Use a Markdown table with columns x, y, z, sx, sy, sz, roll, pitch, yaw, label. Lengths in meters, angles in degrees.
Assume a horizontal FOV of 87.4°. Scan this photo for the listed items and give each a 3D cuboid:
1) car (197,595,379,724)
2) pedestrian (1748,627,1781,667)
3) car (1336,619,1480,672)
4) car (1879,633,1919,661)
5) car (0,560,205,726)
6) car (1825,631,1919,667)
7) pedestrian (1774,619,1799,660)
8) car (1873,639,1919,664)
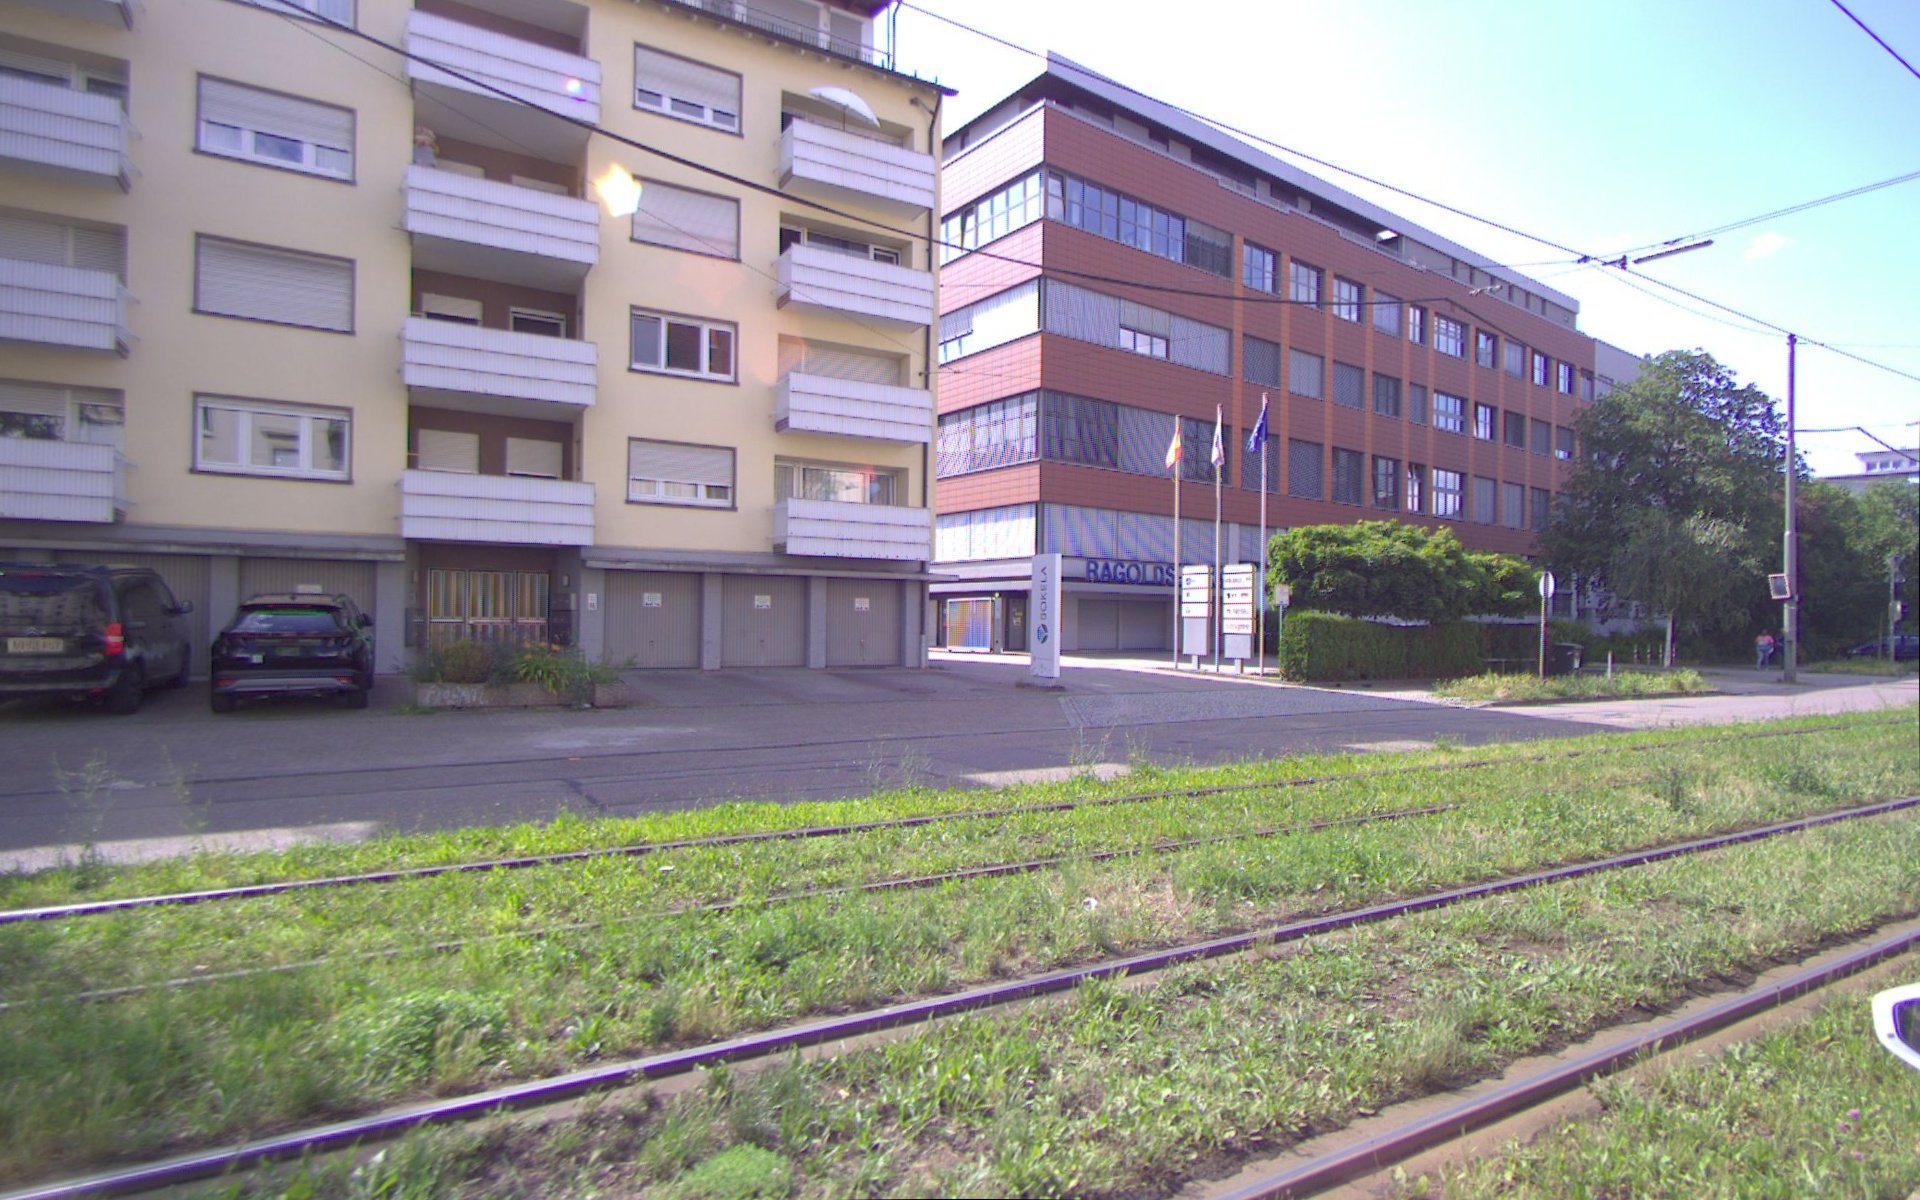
| x | y | z | sx | sy | sz | roll | pitch | yaw | label |
| --- | --- | --- | --- | --- | --- | --- | --- | --- | --- |
| -10.014 | 0.785 | 15.265 | 1.949 | 1.623 | 3.969 | 1 | 1 | -29 | car |
| 32.591 | 1.893 | 40.710 | 0.878 | 1.594 | 0.742 | 3 | -2 | -27 | pedestrian |
| 14.806 | 1.460 | 33.345 | 1.978 | 1.617 | 3.965 | 1 | -1 | -32 | car |
| 52.332 | 2.561 | 54.495 | 3.321 | 1.525 | 1.545 | 0 | -1 | 17 | car |
| -12.443 | 0.498 | 14.315 | 1.911 | 2.040 | 3.973 | 1 | 1 | -26 | car |
| 45.180 | 2.365 | 49.100 | 4.049 | 1.662 | 1.726 | 0 | -1 | 15 | car |
| 34.442 | 1.655 | 41.866 | 0.737 | 1.679 | 0.555 | 1 | -1 | -27 | pedestrian |
| 50.059 | 2.671 | 52.325 | 3.321 | 1.252 | 1.545 | 0 | -1 | 15 | car |
